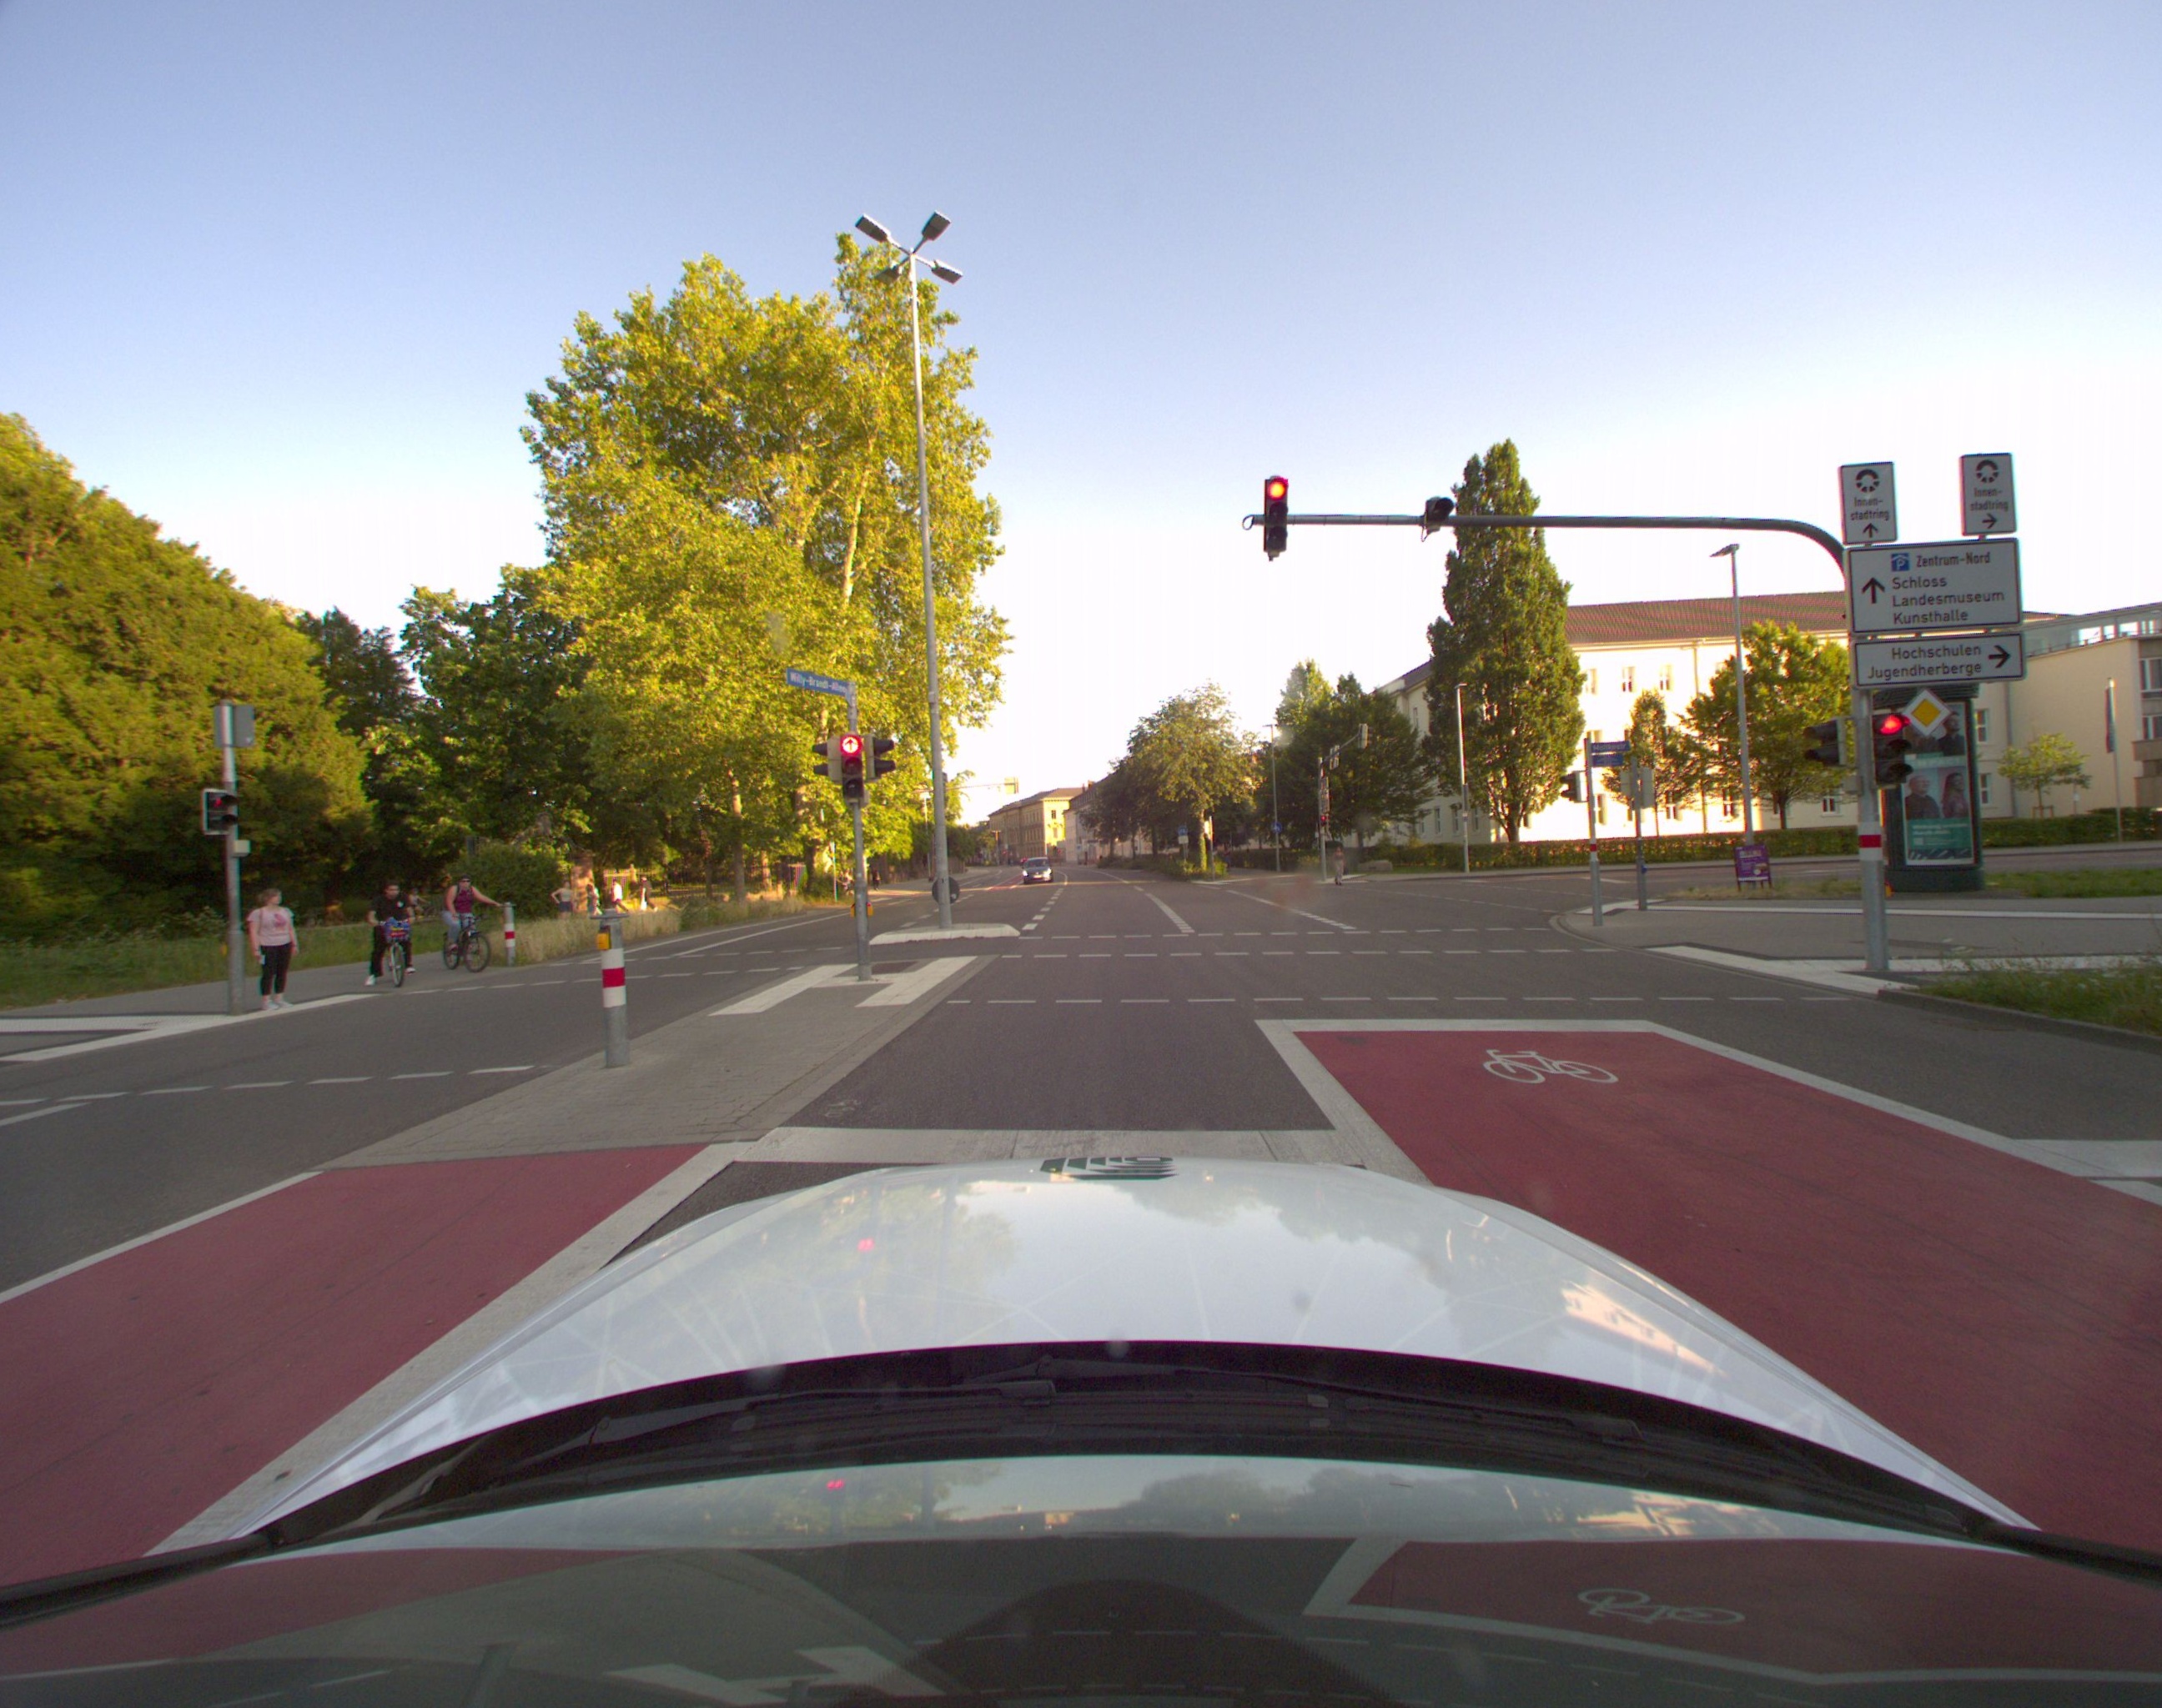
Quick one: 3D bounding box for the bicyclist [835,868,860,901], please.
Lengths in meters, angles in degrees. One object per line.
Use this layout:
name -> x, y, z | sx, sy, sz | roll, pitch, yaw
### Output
bicyclist -> -11.780, 1.527, 41.146 | 0.954, 1.631, 0.753 | -3, 0, 2

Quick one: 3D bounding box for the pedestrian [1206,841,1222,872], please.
pedestrian -> 8.878, 0.162, 54.378 | 0.867, 2.013, 0.723 | -2, 0, 1

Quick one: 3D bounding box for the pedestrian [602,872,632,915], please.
pedestrian -> -22.367, 1.883, 39.296 | 0.799, 2.013, 0.994 | -2, 0, 1

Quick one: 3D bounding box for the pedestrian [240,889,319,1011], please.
pedestrian -> -11.729, 1.385, 11.930 | 0.604, 1.695, 0.499 | -3, 0, 3

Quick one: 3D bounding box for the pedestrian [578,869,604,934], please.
pedestrian -> -15.577, 1.490, 25.876 | 0.598, 2.013, 0.634 | -1, -1, -38

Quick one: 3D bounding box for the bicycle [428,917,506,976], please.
bicycle -> -11.730, 1.739, 15.544 | 1.749, 1.030, 0.583 | -3, 0, 32

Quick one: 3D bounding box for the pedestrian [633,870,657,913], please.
pedestrian -> -20.781, 1.778, 38.819 | 0.637, 2.013, 0.702 | -3, 0, 3

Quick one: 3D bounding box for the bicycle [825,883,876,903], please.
bicycle -> -12.127, 2.037, 42.873 | 2.420, 0.924, 0.775 | -3, 0, 2

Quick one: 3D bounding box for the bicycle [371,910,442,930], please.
bicycle -> -29.665, 2.909, 35.851 | 2.307, 0.691, 0.666 | -3, 0, -12

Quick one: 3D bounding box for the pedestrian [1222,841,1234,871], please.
pedestrian -> 9.897, 0.126, 54.925 | 0.633, 2.013, 0.720 | -2, 0, -2

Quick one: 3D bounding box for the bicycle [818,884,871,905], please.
bicycle -> -11.944, 2.024, 41.150 | 2.420, 0.924, 0.775 | -3, 0, 2

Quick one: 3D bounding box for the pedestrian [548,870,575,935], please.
pedestrian -> -16.542, 1.530, 25.933 | 0.654, 2.013, 0.599 | -1, -1, -37

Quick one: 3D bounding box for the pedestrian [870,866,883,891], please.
pedestrian -> -13.040, 1.555, 51.908 | 0.597, 1.573, 0.646 | -3, 0, 1

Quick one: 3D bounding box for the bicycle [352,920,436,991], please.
bicycle -> -11.824, 1.713, 13.998 | 1.548, 1.111, 0.637 | -3, 0, 32

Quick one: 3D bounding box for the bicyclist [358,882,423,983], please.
bicyclist -> -11.886, 1.330, 14.025 | 0.631, 1.649, 0.634 | -3, 0, 32

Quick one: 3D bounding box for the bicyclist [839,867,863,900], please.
bicyclist -> -12.111, 1.545, 42.867 | 0.954, 1.631, 0.753 | -3, 0, 2

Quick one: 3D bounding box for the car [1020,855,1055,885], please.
car -> -2.703, 0.952, 51.405 | 1.843, 1.720, 4.295 | -3, 0, 0

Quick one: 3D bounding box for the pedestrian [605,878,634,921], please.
pedestrian -> -22.357, 2.181, 39.498 | 0.758, 2.013, 1.076 | -2, 0, -2

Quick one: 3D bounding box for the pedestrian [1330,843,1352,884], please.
pedestrian -> 10.448, 0.381, 32.784 | 0.598, 1.636, 0.691 | -2, 0, -3

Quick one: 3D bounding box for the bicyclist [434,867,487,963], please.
bicyclist -> -11.969, 1.164, 15.711 | 0.631, 1.780, 0.580 | -3, 0, 32

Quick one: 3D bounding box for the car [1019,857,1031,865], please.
car -> -11.809, 1.510, 170.704 | 1.821, 1.588, 3.983 | -4, 0, -12

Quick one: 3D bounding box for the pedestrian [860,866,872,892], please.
pedestrian -> -13.733, 1.576, 52.007 | 0.533, 1.596, 0.591 | -3, 0, 1

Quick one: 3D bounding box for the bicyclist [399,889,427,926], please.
bicyclist -> -29.459, 2.364, 35.912 | 0.646, 1.558, 0.689 | -3, 0, -12
